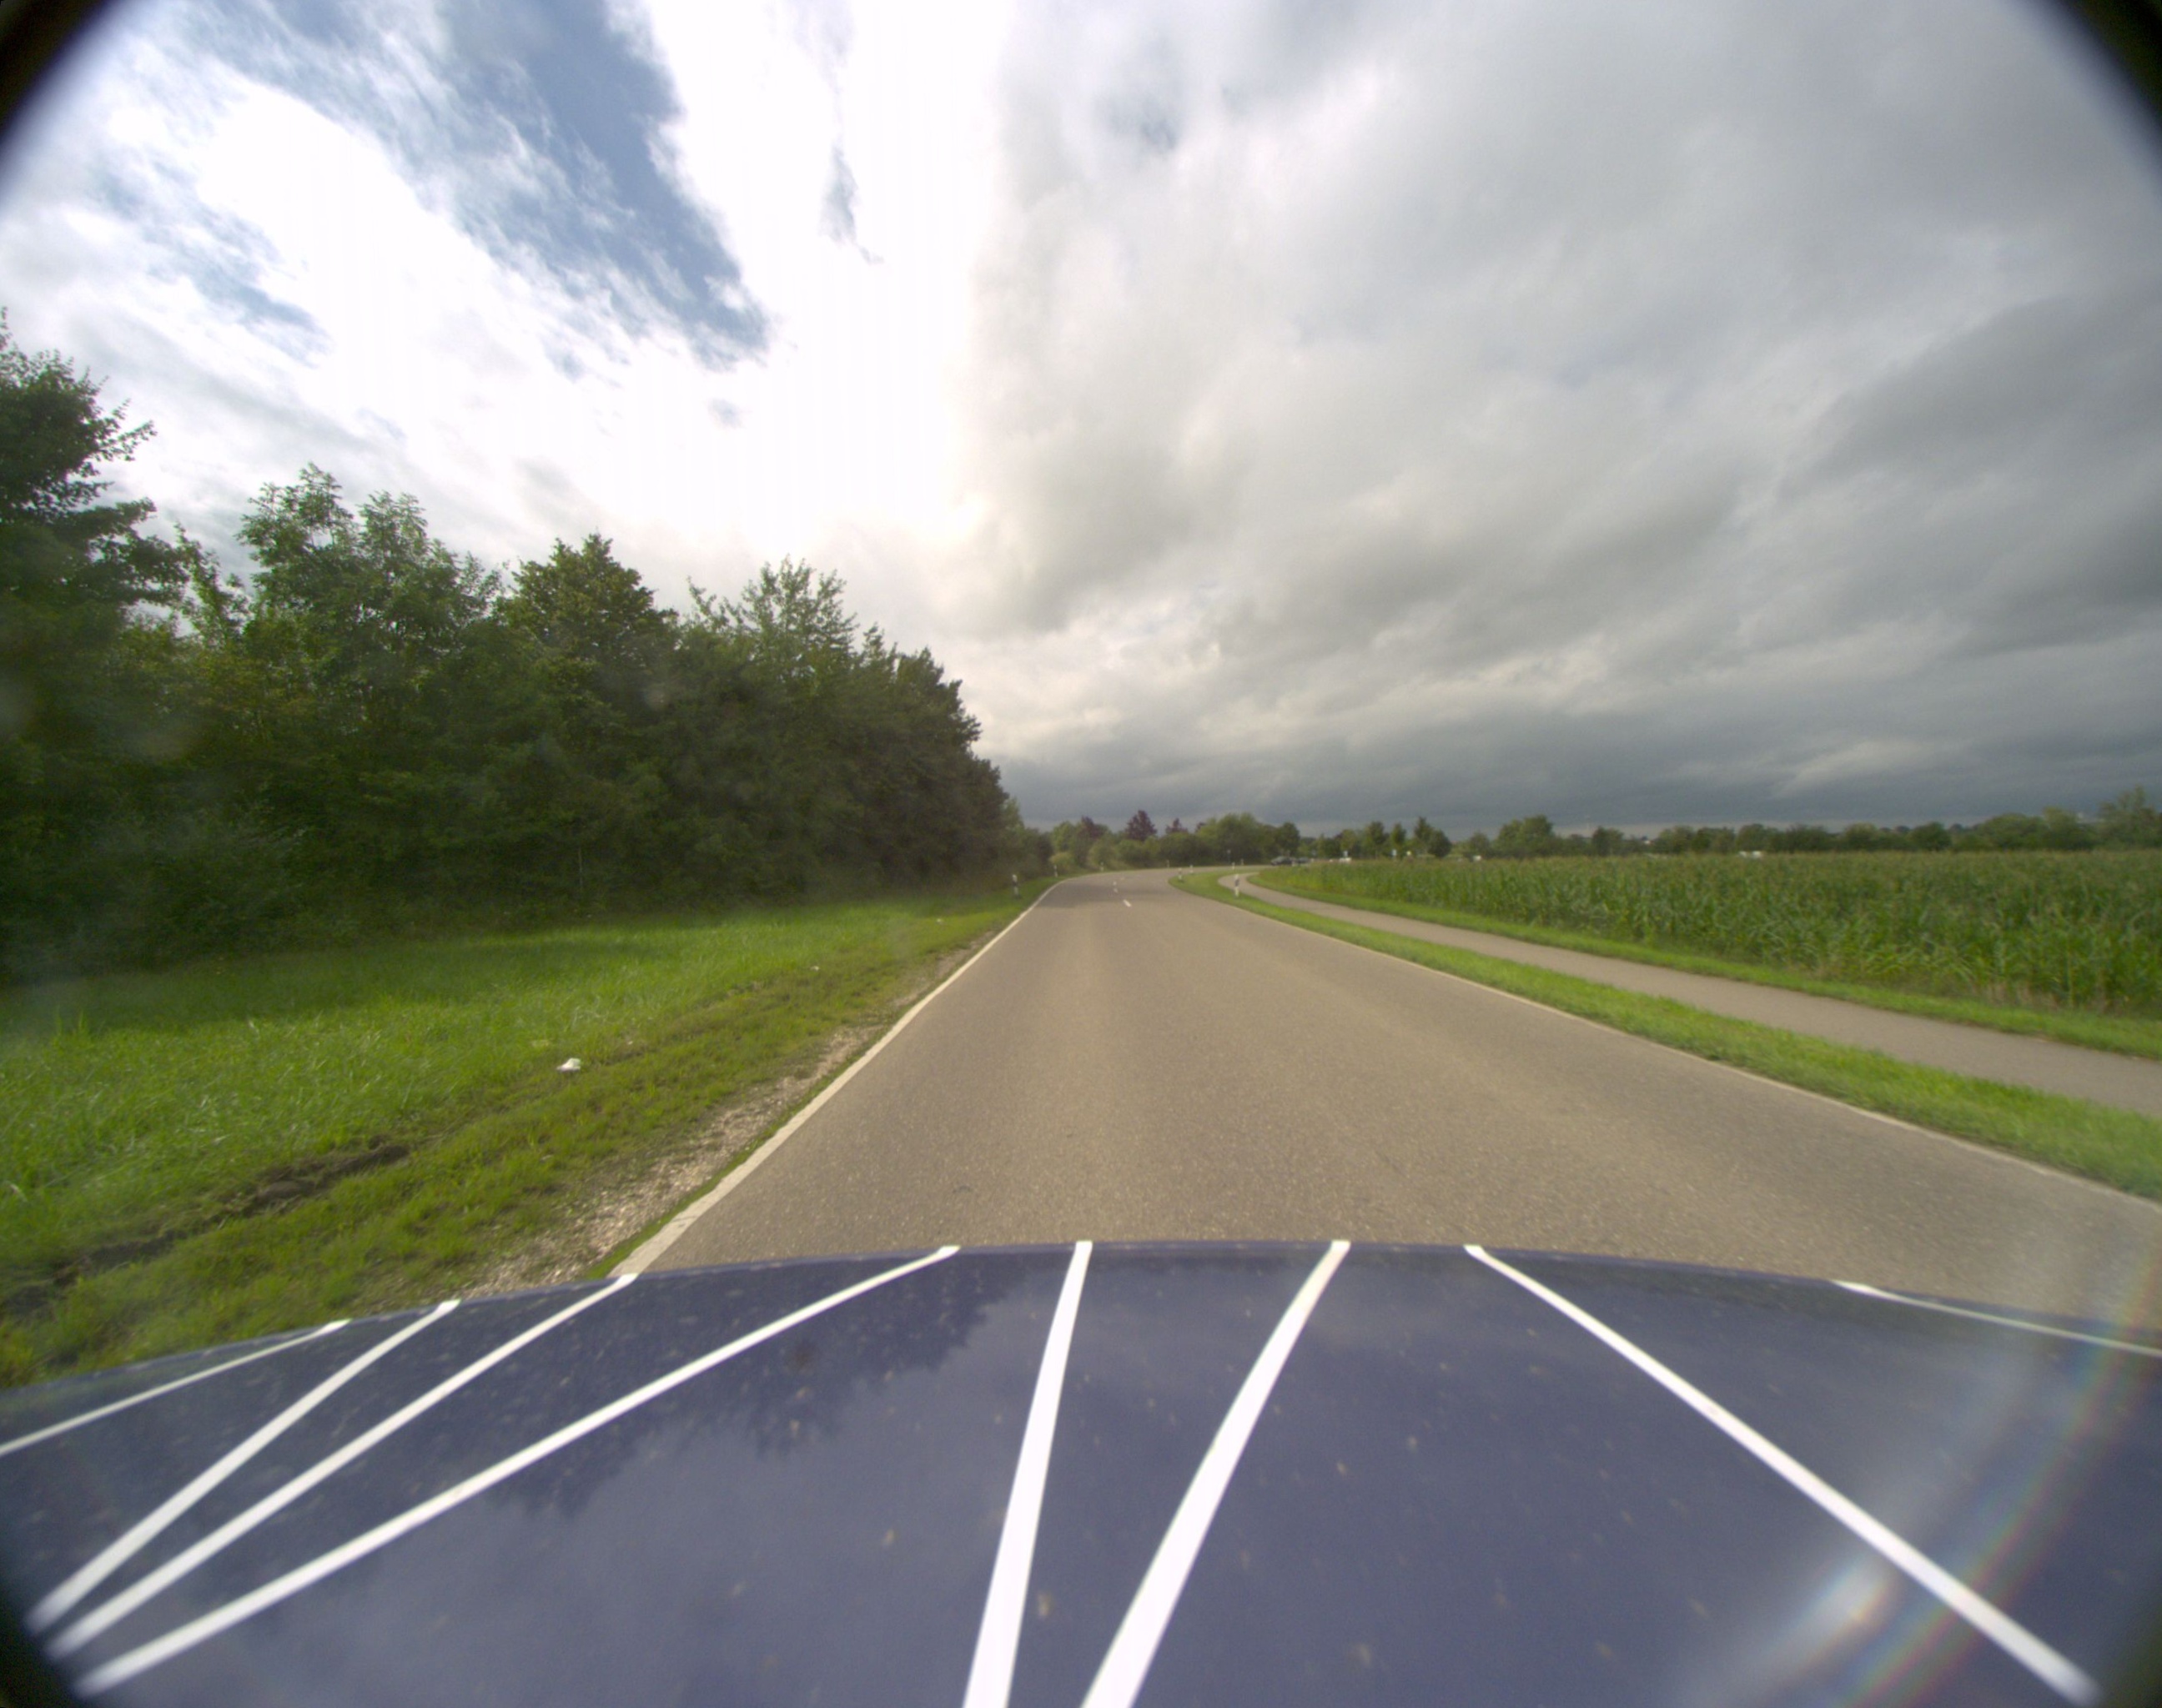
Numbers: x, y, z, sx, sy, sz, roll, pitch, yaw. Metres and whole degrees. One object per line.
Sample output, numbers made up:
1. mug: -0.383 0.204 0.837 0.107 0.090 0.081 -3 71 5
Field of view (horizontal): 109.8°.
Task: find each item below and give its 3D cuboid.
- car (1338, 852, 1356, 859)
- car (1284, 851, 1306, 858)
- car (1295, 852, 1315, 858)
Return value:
1. car: 69.619 0.401 198.743 3.988 1.849 2.004 0 1 40
2. car: 49.614 0.128 176.339 4.479 1.572 2.004 0 0 37
3. car: 53.428 0.300 180.947 4.153 1.406 2.004 0 0 37
